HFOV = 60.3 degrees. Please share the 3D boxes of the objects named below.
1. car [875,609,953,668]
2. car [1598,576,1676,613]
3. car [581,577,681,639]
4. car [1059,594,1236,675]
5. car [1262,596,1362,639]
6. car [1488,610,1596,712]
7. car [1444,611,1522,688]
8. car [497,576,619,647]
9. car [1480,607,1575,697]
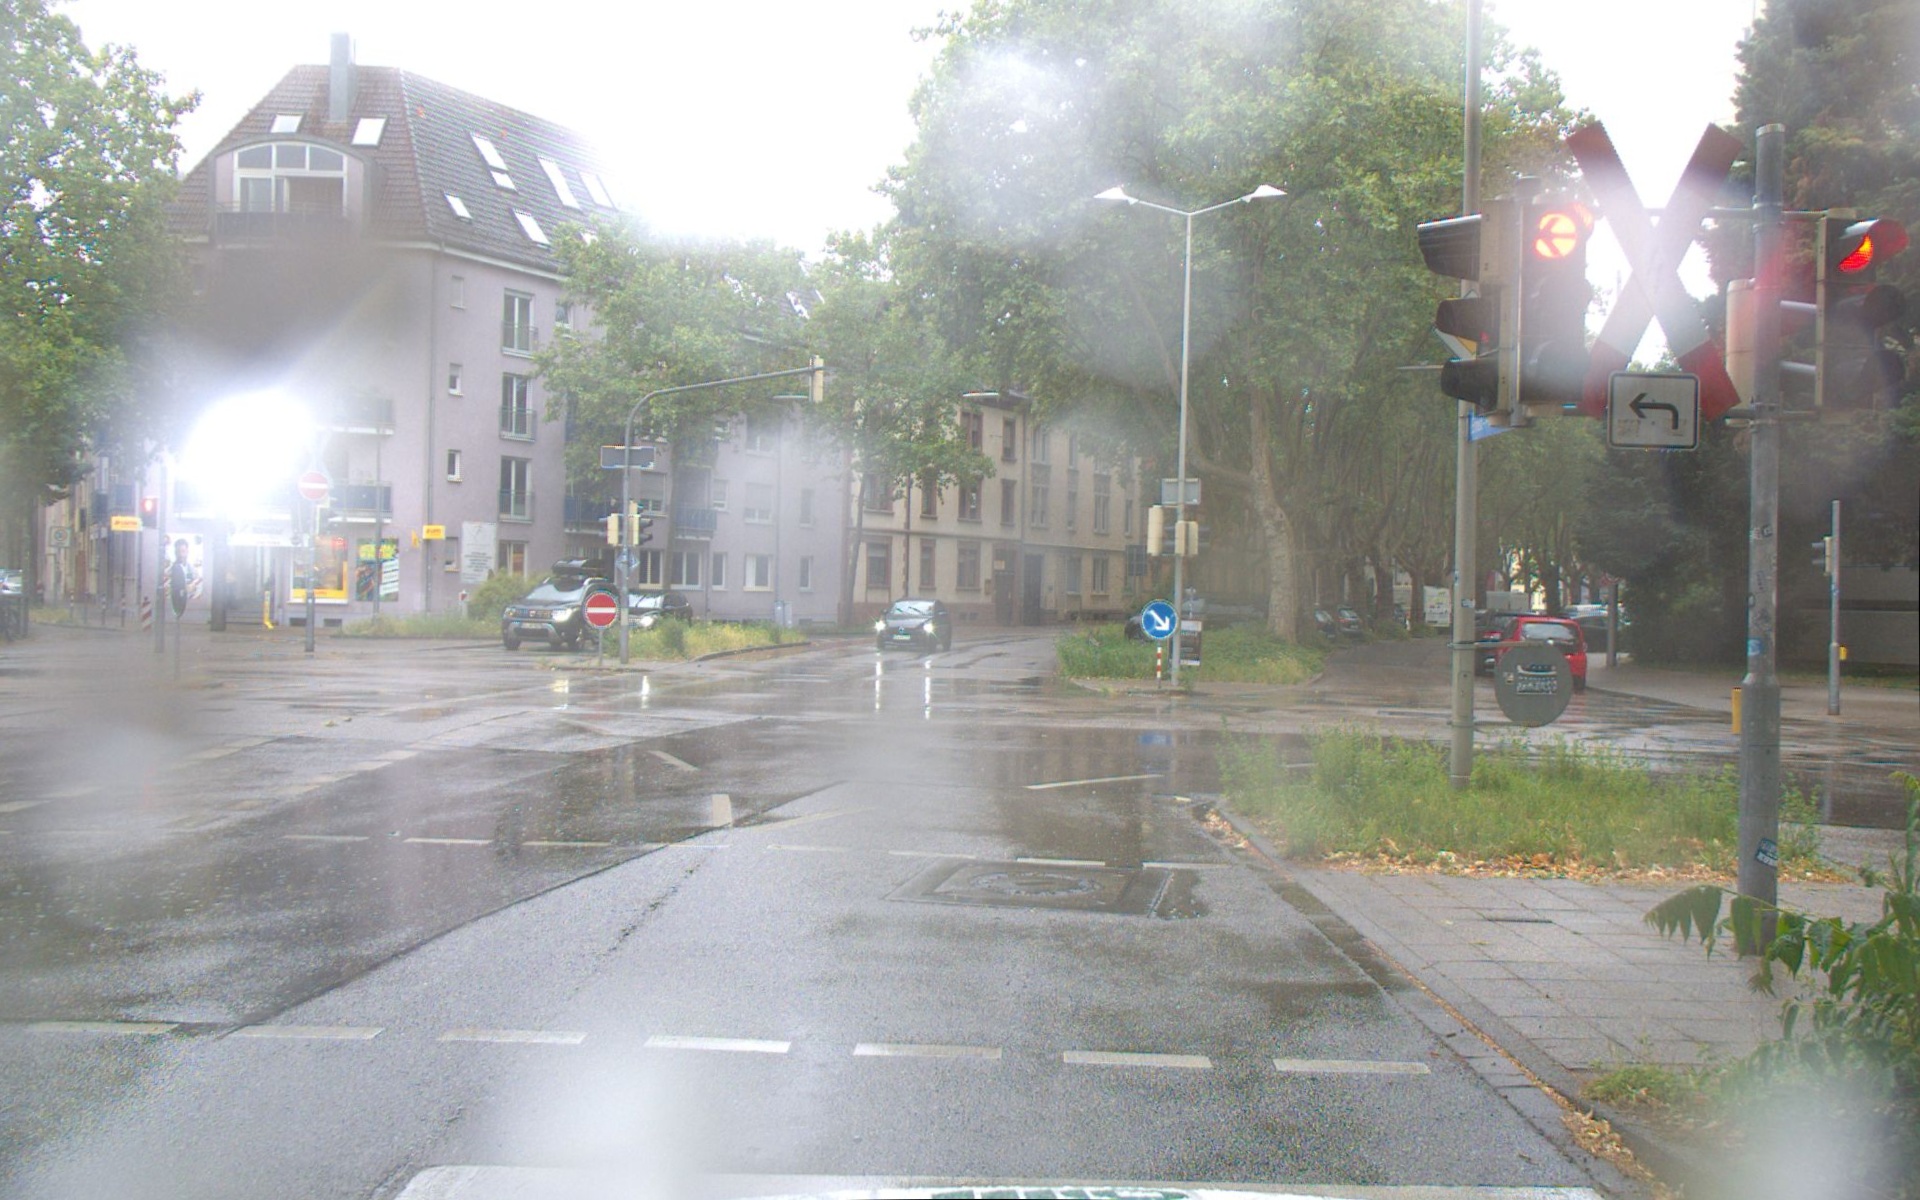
[{"bbox_3d":[-1.292,1.092,47.748,1.568,1.579,3.563,0,0,10],"label":"car"},{"bbox_3d":[37.856,-0.321,92.611,3.903,2.049,1.708,0,0,19],"label":"car"},{"bbox_3d":[-8.814,0.187,44.609,1.688,1.579,3.562,-1,0,5],"label":"car"},{"bbox_3d":[3.751,0.674,32.990,3.405,1.550,1.521,0,0,8],"label":"car"},{"bbox_3d":[13.958,0.694,65.615,3.537,1.646,1.679,0,0,28],"label":"car"},{"bbox_3d":[12.831,1.286,36.680,1.951,2.049,4.003,0,0,15],"label":"car"},{"bbox_3d":[15.103,1.392,47.916,1.951,2.049,4.003,0,0,15],"label":"car"},{"bbox_3d":[-9.339,0.245,38.694,1.688,1.579,3.562,-1,0,5],"label":"car"},{"bbox_3d":[14.028,1.235,41.067,1.951,2.049,4.003,0,0,15],"label":"car"}]
